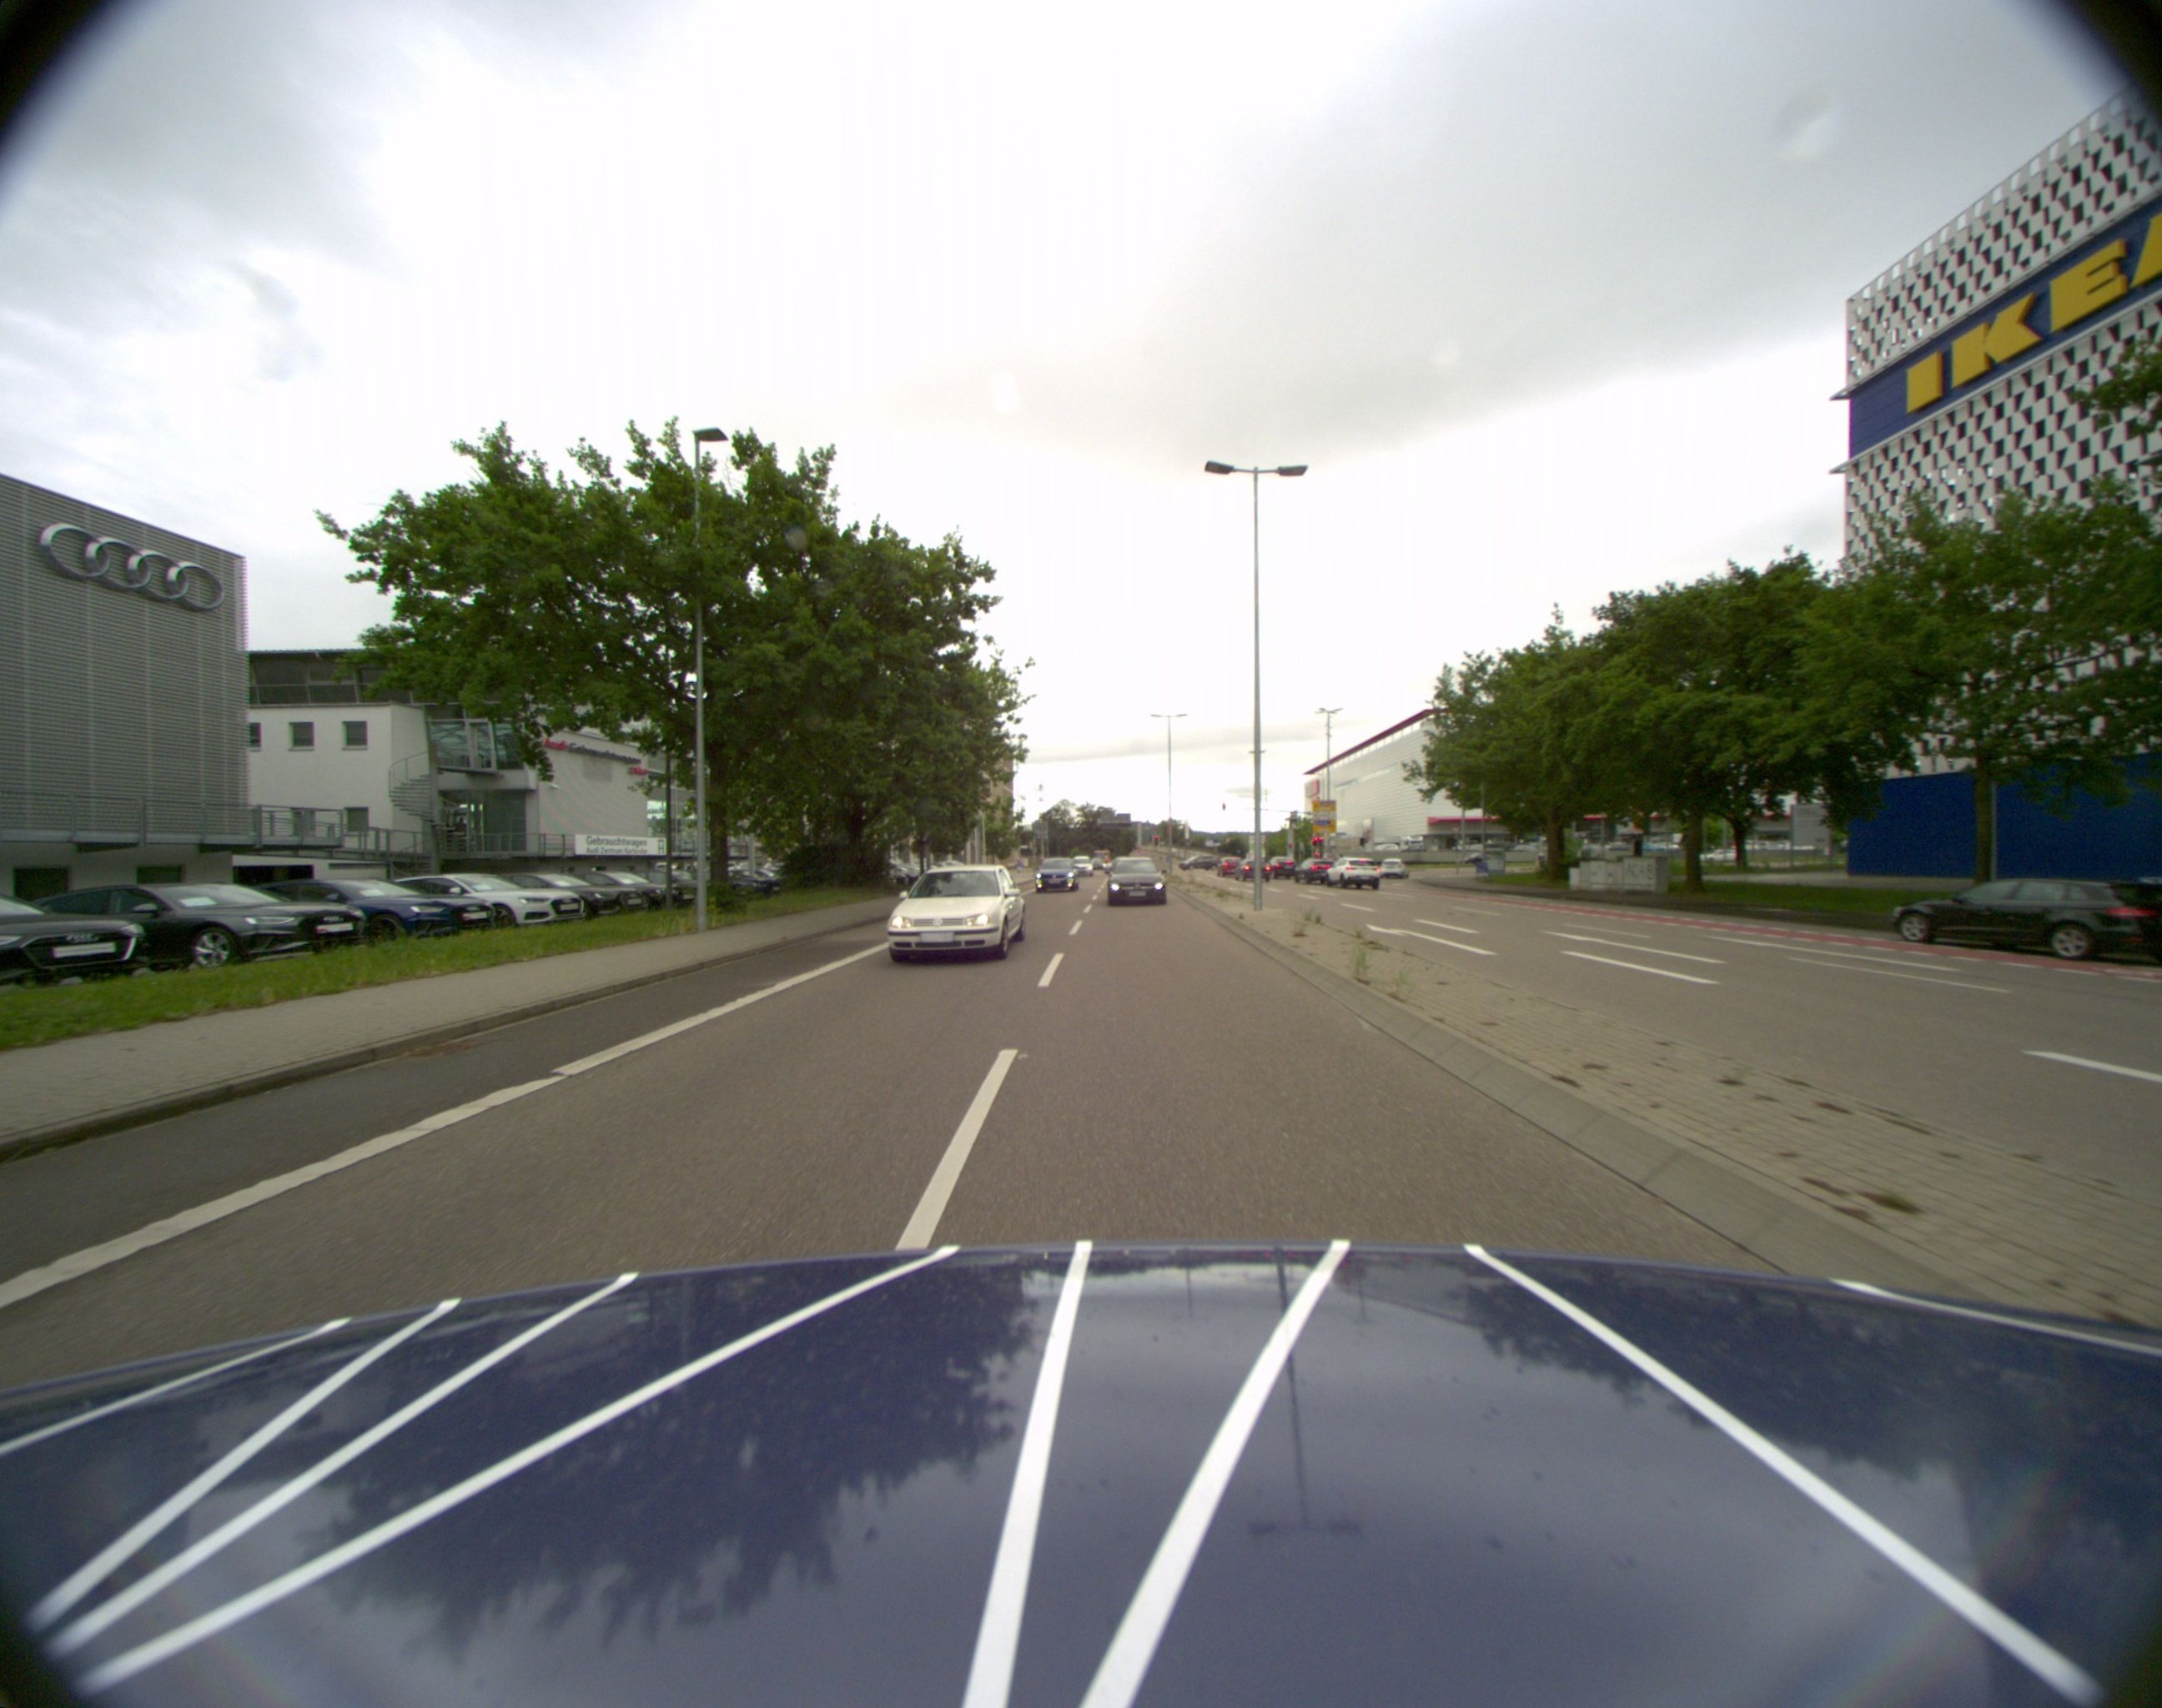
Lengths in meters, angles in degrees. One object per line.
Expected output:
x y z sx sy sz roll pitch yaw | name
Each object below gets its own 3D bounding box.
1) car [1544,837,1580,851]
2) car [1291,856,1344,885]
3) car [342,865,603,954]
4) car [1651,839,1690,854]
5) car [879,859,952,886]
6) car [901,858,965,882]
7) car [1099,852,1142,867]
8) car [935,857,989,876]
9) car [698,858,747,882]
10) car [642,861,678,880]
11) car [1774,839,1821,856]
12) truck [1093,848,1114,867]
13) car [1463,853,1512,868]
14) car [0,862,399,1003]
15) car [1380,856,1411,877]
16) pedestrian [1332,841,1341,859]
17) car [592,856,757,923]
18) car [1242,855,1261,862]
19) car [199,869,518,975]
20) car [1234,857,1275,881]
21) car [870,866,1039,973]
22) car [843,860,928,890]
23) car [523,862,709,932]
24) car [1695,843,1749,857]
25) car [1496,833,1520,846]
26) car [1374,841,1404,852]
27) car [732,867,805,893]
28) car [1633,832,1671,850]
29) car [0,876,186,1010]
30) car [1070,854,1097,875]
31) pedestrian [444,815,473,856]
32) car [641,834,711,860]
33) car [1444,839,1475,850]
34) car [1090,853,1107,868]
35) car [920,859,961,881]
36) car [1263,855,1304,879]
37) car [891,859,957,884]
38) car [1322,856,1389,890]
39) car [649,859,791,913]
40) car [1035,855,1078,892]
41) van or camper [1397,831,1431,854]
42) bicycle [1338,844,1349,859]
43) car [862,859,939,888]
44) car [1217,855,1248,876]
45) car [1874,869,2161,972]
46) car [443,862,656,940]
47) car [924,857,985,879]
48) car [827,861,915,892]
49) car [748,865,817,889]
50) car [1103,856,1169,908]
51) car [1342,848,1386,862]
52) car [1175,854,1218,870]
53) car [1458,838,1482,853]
71.410 -1.463 112.797 3.995 2.001 2.001 -2 -2 4 | car
14.269 0.951 46.131 1.885 1.536 4.598 1 1 1 | car
-13.362 1.193 16.872 4.206 1.477 1.960 -6 -2 3 | car
85.702 -1.057 110.518 3.995 2.001 2.001 -2 -2 4 | car
-10.872 1.190 50.010 4.228 1.477 1.872 -4 0 4 | car
-10.743 1.173 55.296 4.194 1.477 1.853 -4 0 4 | car
3.956 0.556 75.795 4.228 1.407 1.798 0 -2 -44 | car
-10.313 1.071 66.077 4.225 1.477 1.875 -3 1 4 | car
-33.540 1.457 71.177 1.998 2.002 4.908 -2 2 3 | car
-40.493 1.601 73.003 1.926 1.649 4.434 -3 1 -43 | car
92.236 -0.822 97.878 1.998 2.001 4.329 -2 -2 5 | car
3.445 0.516 114.460 2.818 2.622 6.679 -2 -2 5 | truck
43.440 0.673 81.264 4.213 1.407 1.804 -2 -2 7 | car
-13.609 1.168 11.850 4.185 1.652 2.001 -6 -2 5 | car
24.061 0.953 58.072 1.858 1.453 4.340 1 -1 27 | car
23.193 -0.391 69.056 0.639 1.617 0.693 0 2 29 | pedestrian
-13.213 1.151 24.855 4.247 1.592 1.877 -7 -2 3 | car
40.250 1.137 179.348 4.191 1.600 1.724 -1 -2 11 | car
-13.436 1.223 14.313 4.191 1.477 1.978 -6 -2 4 | car
11.201 0.931 49.229 1.861 1.453 4.333 1 -1 3 | car
-1.896 0.955 12.672 1.836 1.469 4.007 -2 -1 4 | car
-11.352 1.219 44.271 4.375 1.462 1.895 -4 0 3 | car
-13.460 1.224 22.160 4.217 1.477 1.827 -7 -2 3 | car
70.365 -0.452 83.475 4.213 1.407 1.804 -2 -2 7 | car
69.847 -2.357 124.342 1.998 2.001 4.003 -2 -2 5 | car
50.394 -1.225 124.361 4.254 1.665 1.778 -2 -2 7 | car
-21.777 1.794 53.077 4.314 1.685 1.811 -2 -2 3 | car
73.330 -1.669 97.694 1.998 2.001 4.003 -2 -2 5 | car
-13.796 1.189 9.036 4.185 1.447 1.935 -6 -2 5 | car
0.260 0.925 62.371 1.798 1.615 4.377 -2 -2 5 | car
-31.342 -0.918 38.266 0.746 2.001 0.800 -2 -1 2 | pedestrian
-28.517 -0.457 53.574 3.996 1.651 1.826 -2 -2 2 | car
64.477 -1.563 129.534 4.254 1.665 1.778 -2 -2 7 | car
2.278 0.884 98.589 1.998 1.758 4.424 -2 -2 3 | car
-10.877 1.236 59.215 1.891 1.477 4.756 -4 0 4 | car
14.815 0.915 55.681 1.885 1.628 4.333 2 1 1 | car
-10.809 1.189 52.617 4.040 1.477 1.877 -4 0 4 | car
14.316 0.957 39.937 1.998 1.585 4.579 3 0 3 | car
-12.988 1.154 27.492 4.133 1.385 1.872 -7 -2 3 | car
-1.096 0.926 35.701 1.846 1.612 4.333 -2 -2 0 | car
50.870 -1.774 116.118 2.711 3.116 7.242 -2 -2 7 | van or camper
23.750 -0.235 68.778 0.595 1.388 1.937 1 2 30 | bicycle
-11.145 1.212 47.192 4.187 1.477 1.909 -4 0 3 | car
11.518 0.838 57.991 1.739 1.479 4.078 1 1 3 | car
17.706 1.110 14.027 1.922 1.493 4.253 2 1 7 | car
-13.384 1.172 19.281 4.073 1.477 1.820 -6 -2 3 | car
-10.482 1.161 63.192 4.513 1.477 2.070 -4 1 2 | car
-11.423 1.233 41.575 4.164 1.382 1.903 -4 0 3 | car
-21.936 1.673 55.981 4.259 1.477 1.930 -4 -2 4 | car
1.666 0.885 24.195 1.859 1.426 4.198 -3 -2 1 | car
30.839 0.115 82.870 4.213 1.407 1.804 -2 -2 7 | car
12.461 0.902 82.295 4.218 1.564 1.802 -1 -2 -8 | car
58.591 -1.245 114.489 1.868 1.935 3.871 -2 -2 3 | car
